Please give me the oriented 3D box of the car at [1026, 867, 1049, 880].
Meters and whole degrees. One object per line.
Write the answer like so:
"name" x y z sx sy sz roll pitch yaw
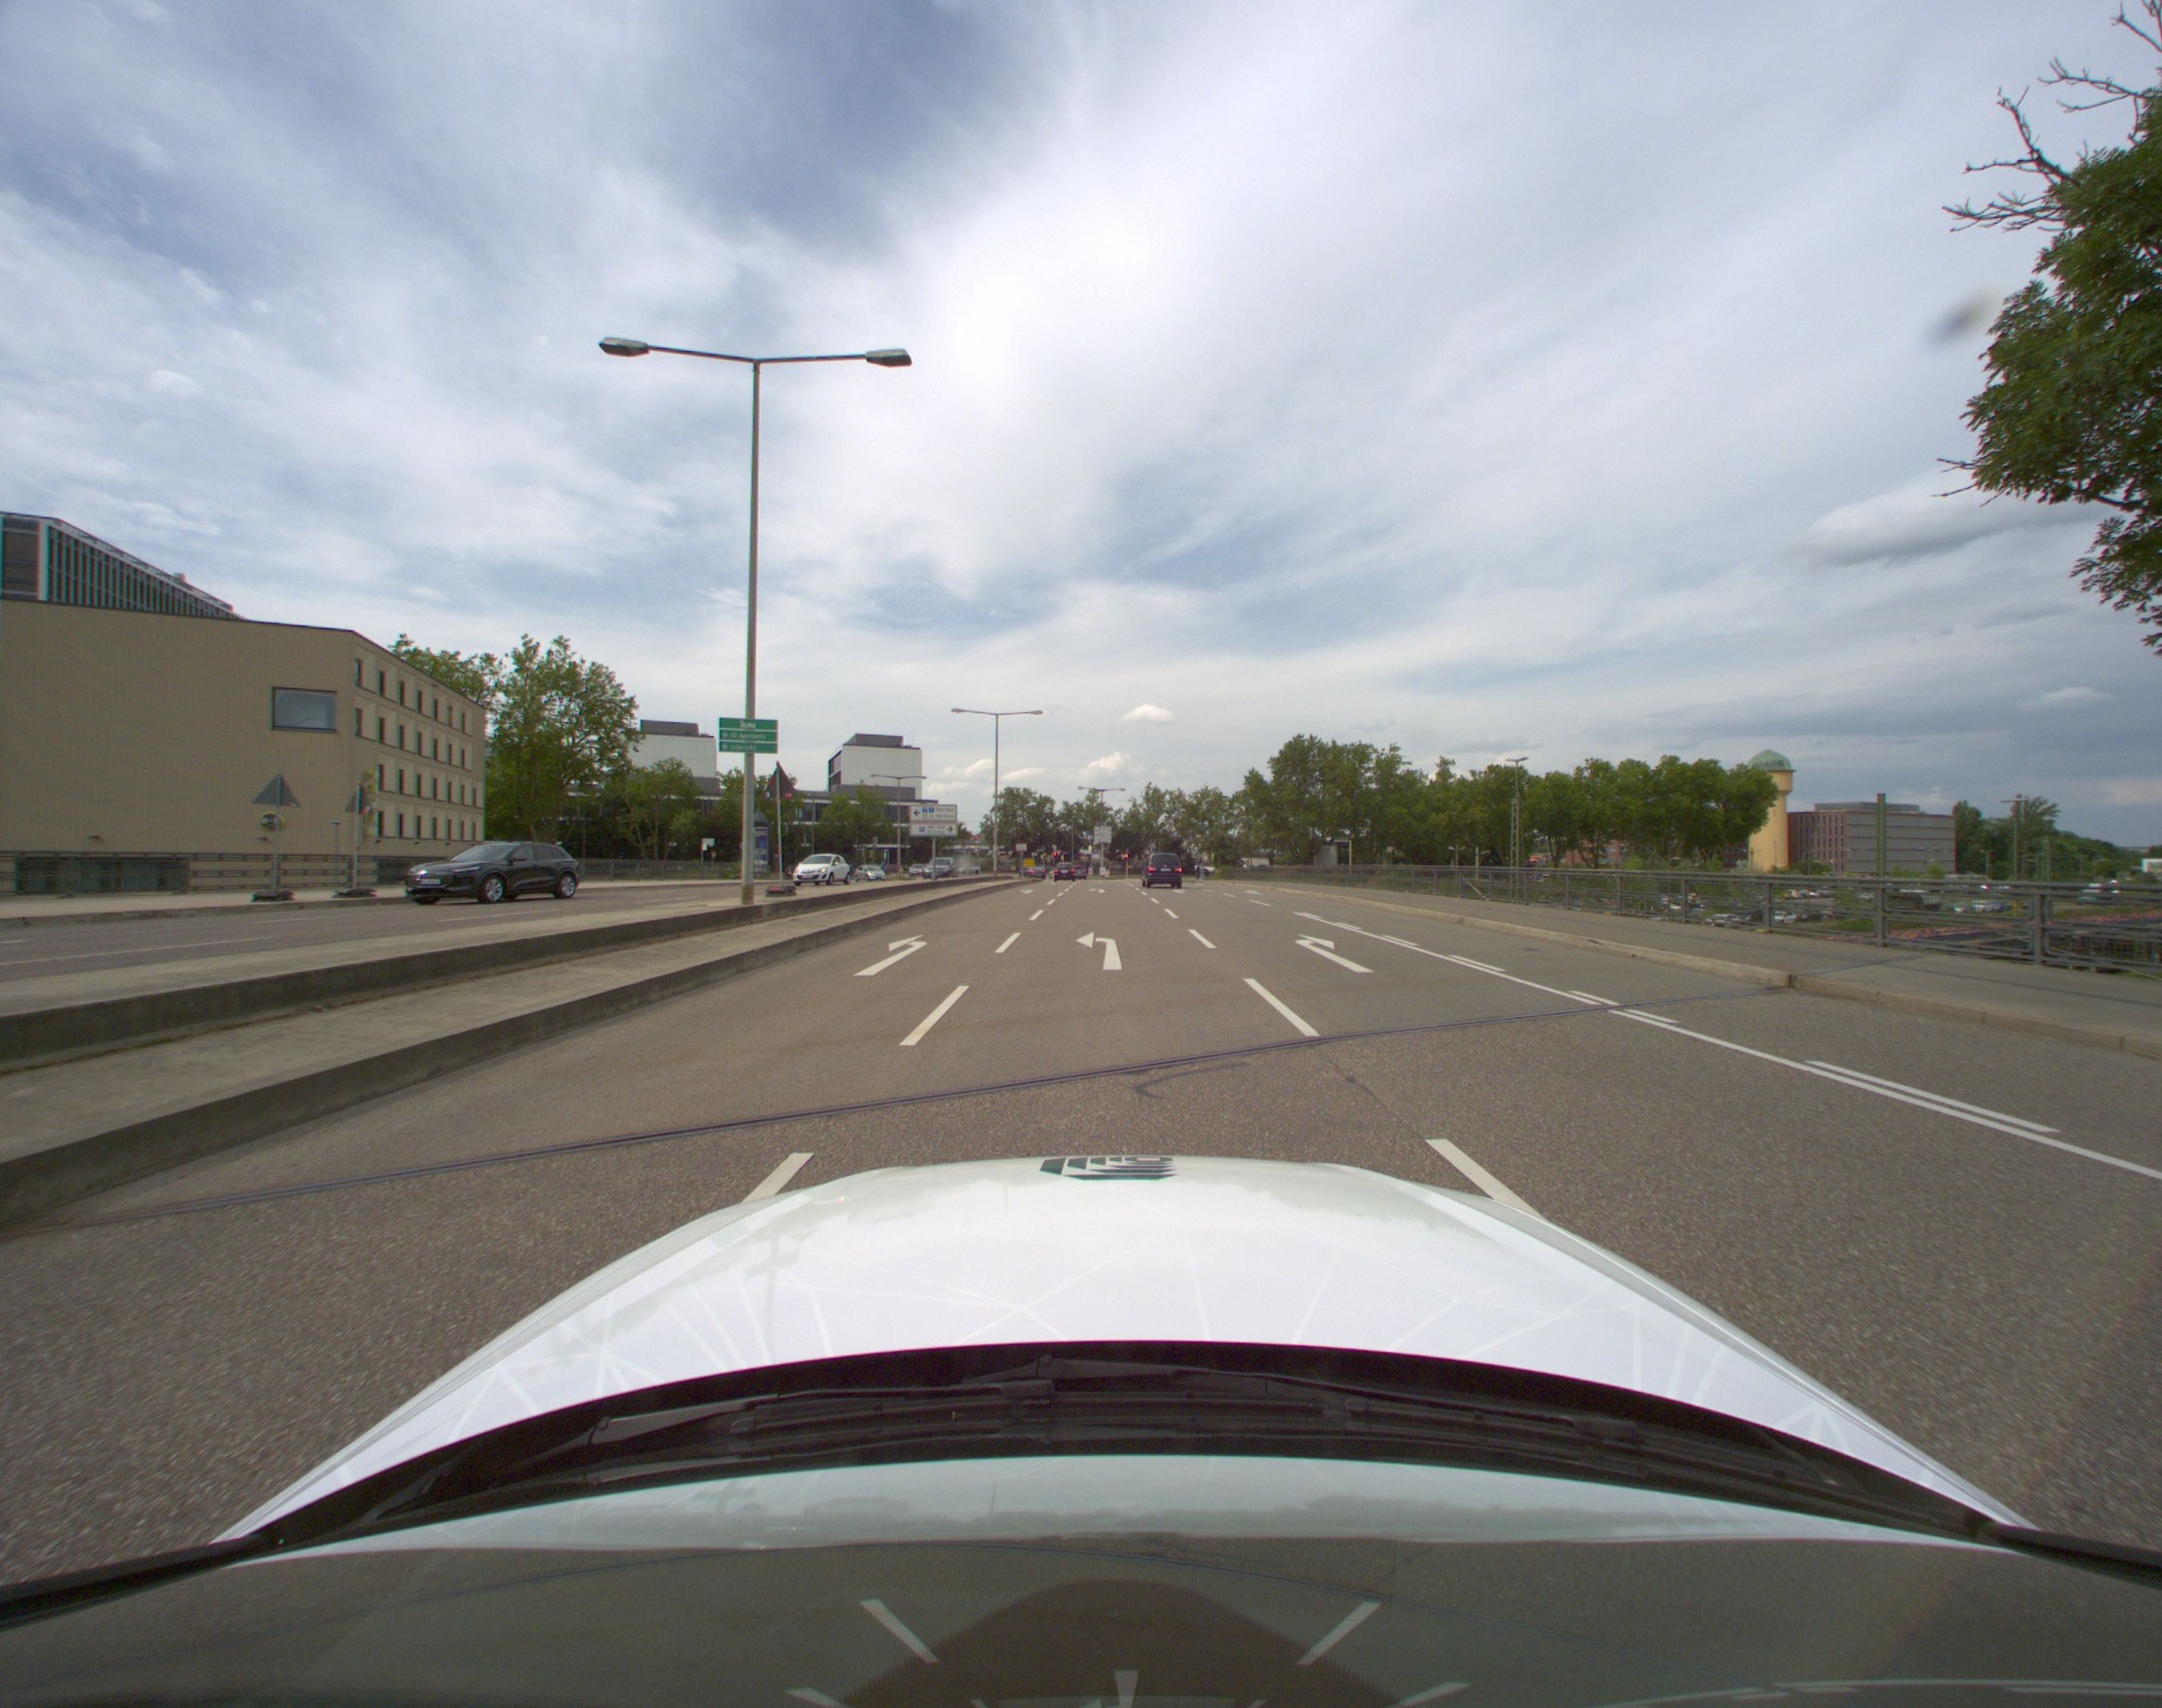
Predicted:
"car" -4.786 2.110 89.270 1.819 1.414 4.757 1 -1 -11

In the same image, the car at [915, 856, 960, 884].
"car" -9.030 0.993 51.647 1.880 1.640 4.586 0 -1 1

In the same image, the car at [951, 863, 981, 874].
"car" -15.810 1.996 111.739 1.601 1.410 3.883 -3 -3 44

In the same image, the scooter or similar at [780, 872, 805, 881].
"scooter or similar" -29.116 2.302 82.336 0.798 0.849 2.401 0 -1 32

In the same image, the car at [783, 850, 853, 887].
"car" -12.320 0.674 38.438 1.881 1.640 4.217 0 -1 0

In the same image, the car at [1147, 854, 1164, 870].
"car" 8.108 0.911 88.503 1.681 1.585 4.163 2 -2 7

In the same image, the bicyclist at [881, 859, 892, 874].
"bicyclist" -21.173 1.367 88.538 0.801 1.656 0.889 -1 -2 33

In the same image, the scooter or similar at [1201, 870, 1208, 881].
"scooter or similar" 13.633 2.362 90.056 0.396 1.183 1.277 0 -2 -6

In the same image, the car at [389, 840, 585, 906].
"car" -16.102 0.498 22.451 1.879 1.640 4.549 0 -1 3

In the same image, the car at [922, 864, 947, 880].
"car" -14.229 1.734 78.923 1.922 1.415 4.855 -1 -1 -15

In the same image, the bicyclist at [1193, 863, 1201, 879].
"bicyclist" 12.722 1.847 89.191 0.806 1.696 1.118 0 -1 6

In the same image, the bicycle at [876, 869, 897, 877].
"bicycle" -21.133 2.057 88.550 0.801 0.952 2.249 -1 -1 33

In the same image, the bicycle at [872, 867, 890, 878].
"bicycle" -22.426 2.068 91.368 1.907 1.210 0.639 0 -1 -19

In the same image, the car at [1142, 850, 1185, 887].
"car" 4.129 0.776 41.145 1.744 1.725 4.137 2 -2 1

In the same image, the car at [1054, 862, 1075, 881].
"car" -1.408 1.453 68.654 1.752 1.575 4.033 1 -1 -2

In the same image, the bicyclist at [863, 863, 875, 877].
"bicyclist" -23.283 1.743 89.331 0.639 1.436 1.124 0 -1 36

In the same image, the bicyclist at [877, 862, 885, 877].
"bicyclist" -22.430 1.728 91.358 0.781 1.581 0.650 0 -1 -19

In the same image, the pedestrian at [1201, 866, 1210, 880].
"pedestrian" 15.585 2.409 101.967 1.040 1.710 0.856 1 -1 12

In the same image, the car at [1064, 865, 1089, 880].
"car" -0.516 2.003 86.801 1.743 1.546 4.062 0 -2 -13

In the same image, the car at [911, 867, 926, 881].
"car" -19.592 2.429 98.224 1.743 1.659 4.061 -1 -2 -12

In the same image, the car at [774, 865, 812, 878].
"car" -34.803 2.123 98.405 4.018 1.530 1.664 1 -1 -37

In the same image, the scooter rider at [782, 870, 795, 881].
"scooter rider" -29.380 2.151 81.923 0.798 1.137 0.922 0 -1 32

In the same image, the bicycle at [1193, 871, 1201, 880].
"bicycle" 12.734 2.362 89.260 0.805 0.952 2.239 0 -1 7

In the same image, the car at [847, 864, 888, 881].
"car" -20.127 1.738 76.738 1.935 1.526 4.824 -1 -1 -39
